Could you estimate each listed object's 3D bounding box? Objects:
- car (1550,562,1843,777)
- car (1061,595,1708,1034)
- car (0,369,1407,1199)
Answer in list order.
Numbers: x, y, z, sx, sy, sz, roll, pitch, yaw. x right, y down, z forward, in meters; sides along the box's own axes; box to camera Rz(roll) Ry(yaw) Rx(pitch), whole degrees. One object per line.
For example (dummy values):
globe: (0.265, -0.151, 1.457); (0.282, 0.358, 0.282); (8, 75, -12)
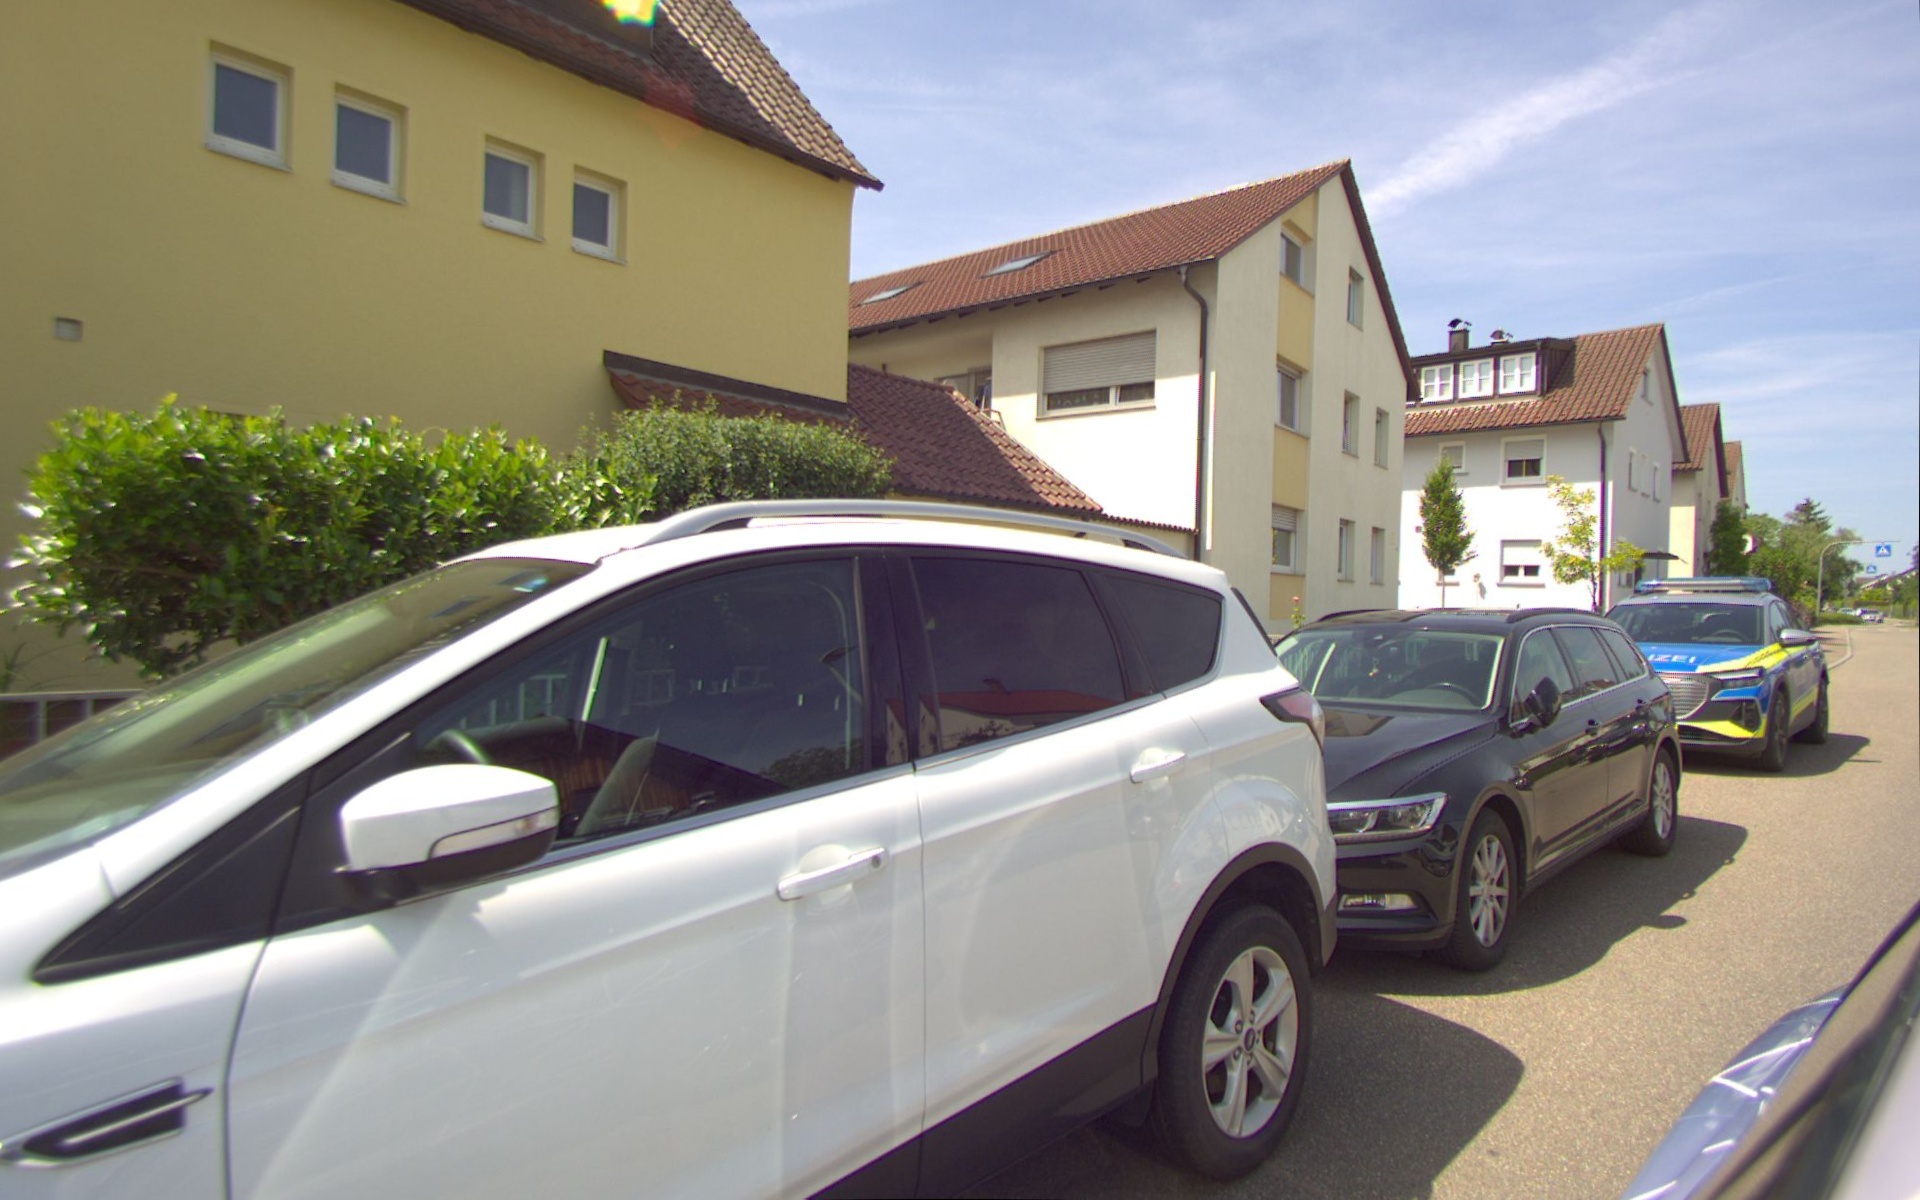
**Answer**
car: (7.609, 0.579, 10.311); (3.987, 1.771, 1.667); (0, -1, -43)
car: (2.583, 0.733, 5.510); (4.298, 1.487, 1.625); (0, -1, -43)
car: (-0.755, 0.622, 2.343); (4.263, 1.683, 1.738); (0, -1, -43)
